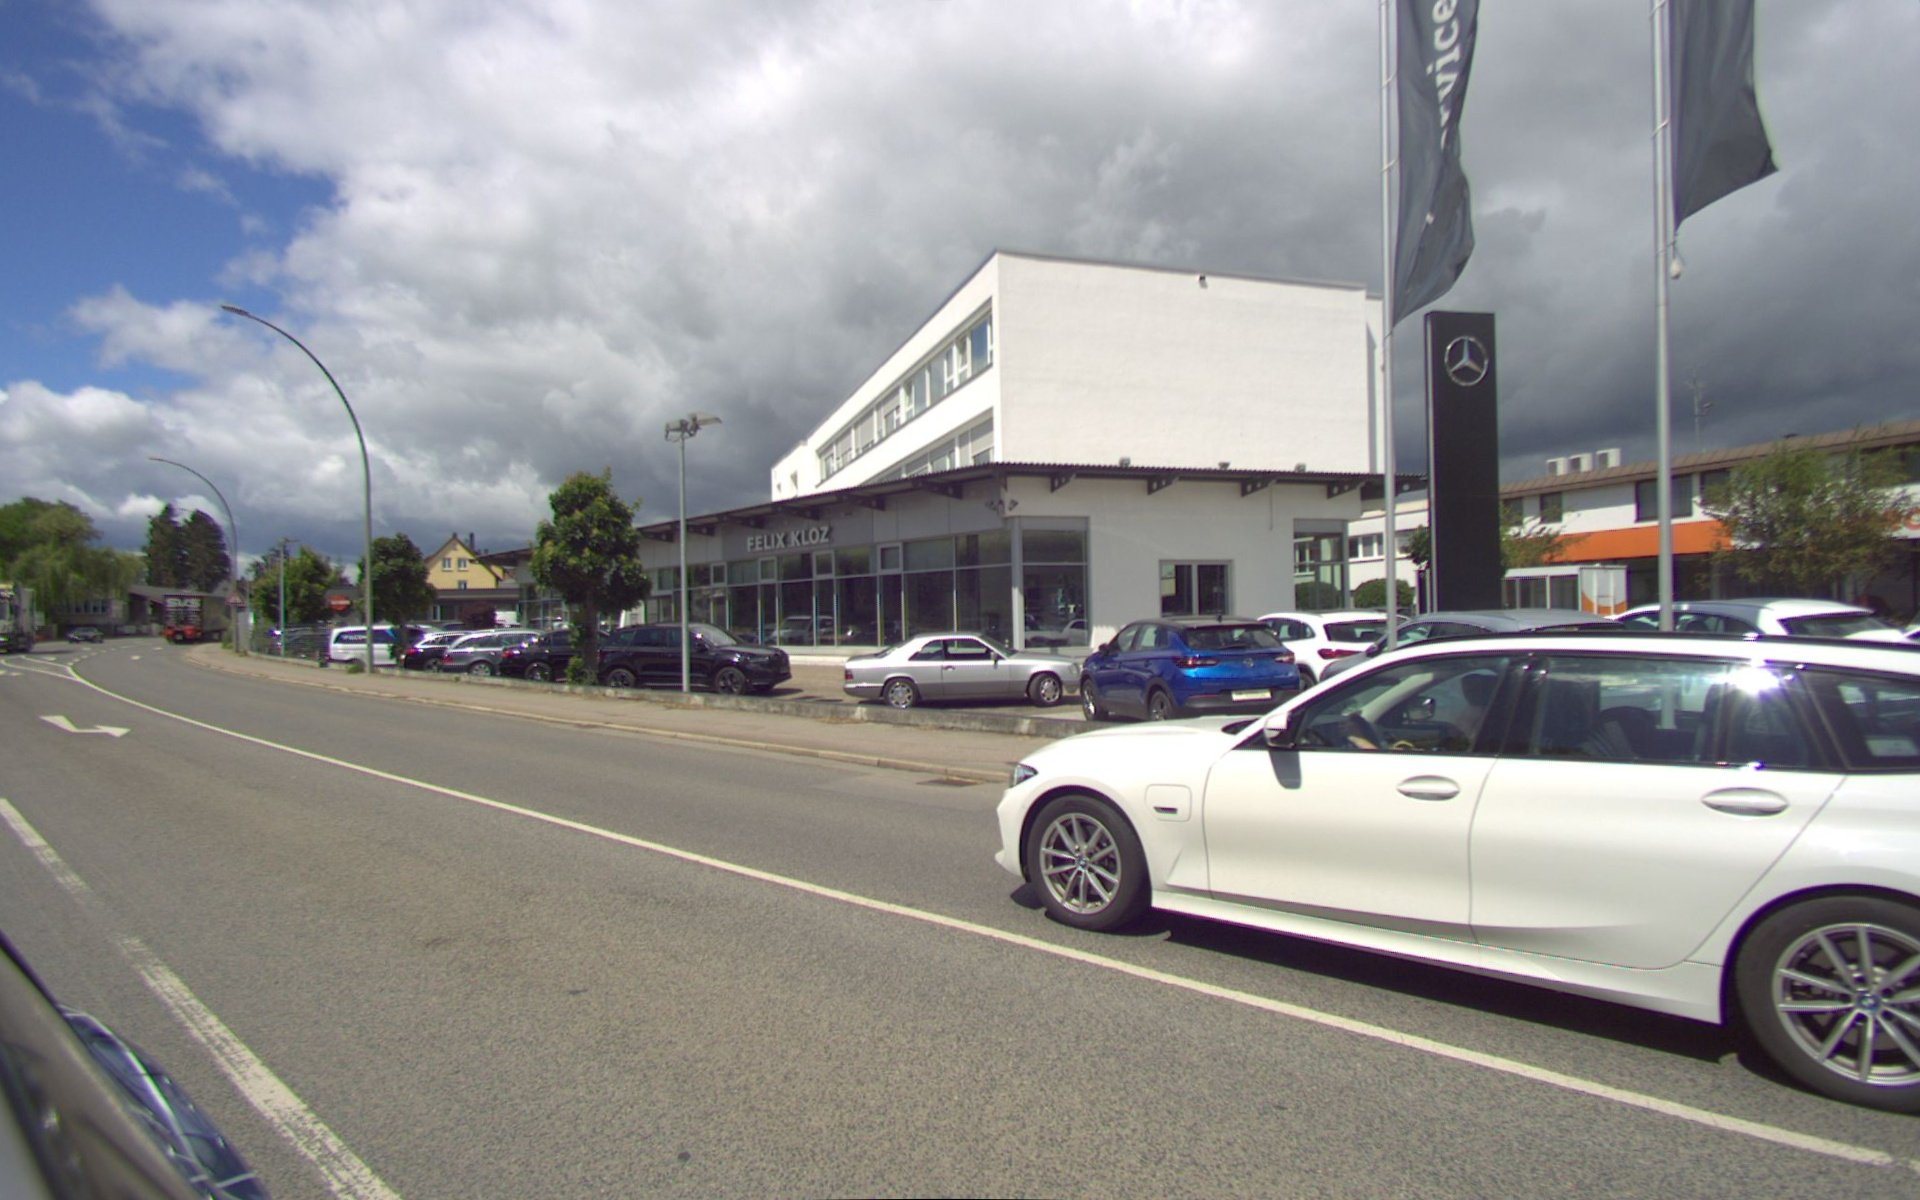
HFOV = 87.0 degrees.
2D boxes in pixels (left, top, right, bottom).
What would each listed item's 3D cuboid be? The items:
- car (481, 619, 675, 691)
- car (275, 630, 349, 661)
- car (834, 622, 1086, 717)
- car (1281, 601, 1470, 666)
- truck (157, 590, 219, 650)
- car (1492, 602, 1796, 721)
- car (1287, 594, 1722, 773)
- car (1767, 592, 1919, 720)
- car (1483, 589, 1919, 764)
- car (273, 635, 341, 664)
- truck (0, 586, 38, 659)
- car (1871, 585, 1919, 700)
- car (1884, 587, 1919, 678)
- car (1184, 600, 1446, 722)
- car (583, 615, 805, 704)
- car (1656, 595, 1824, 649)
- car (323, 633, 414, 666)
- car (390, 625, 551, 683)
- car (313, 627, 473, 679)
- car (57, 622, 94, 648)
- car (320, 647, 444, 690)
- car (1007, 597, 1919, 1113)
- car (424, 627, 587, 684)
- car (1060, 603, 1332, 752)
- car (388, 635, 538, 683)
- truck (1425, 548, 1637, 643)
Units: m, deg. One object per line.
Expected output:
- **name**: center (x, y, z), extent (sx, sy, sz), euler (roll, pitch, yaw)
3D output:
- **car**: center (-9.982, 1.409, 26.832), extent (4.559, 1.637, 2.067), euler (-2, -1, -13)
- **car**: center (-34.901, 2.444, 54.508), extent (3.214, 1.586, 1.585), euler (1, -2, -38)
- **car**: center (0.002, 1.293, 19.391), extent (4.535, 1.400, 1.804), euler (-3, 2, 1)
- **car**: center (11.208, 0.863, 27.341), extent (4.506, 1.602, 1.933), euler (-1, 0, -18)
- **truck**: center (-63.775, 1.648, 83.796), extent (2.932, 4.696, 8.204), euler (0, -1, -29)
- **car**: center (10.990, 0.938, 16.654), extent (1.774, 1.637, 3.964), euler (-2, -1, -11)
- **car**: center (5.896, 0.834, 11.764), extent (1.843, 1.578, 4.532), euler (-2, -1, -13)
- **car**: center (12.384, 0.647, 11.903), extent (1.840, 1.478, 4.563), euler (-3, -1, -4)
- **car**: center (8.596, 0.763, 11.826), extent (1.843, 1.578, 4.532), euler (-2, -1, -13)
- **car**: center (-38.163, 2.854, 59.145), extent (3.214, 1.586, 1.585), euler (1, -2, -38)
- **truck**: center (-53.794, 1.274, 56.098), extent (2.859, 3.797, 9.657), euler (0, -1, -36)
- **car**: center (14.840, 0.542, 13.015), extent (1.838, 1.629, 4.441), euler (-3, -1, -7)
- **car**: center (19.128, 0.546, 17.706), extent (3.954, 1.641, 1.842), euler (-1, -1, 9)
- **car**: center (5.468, 0.903, 16.167), extent (1.773, 1.637, 3.967), euler (-2, -1, -20)
- **car**: center (-5.769, 1.282, 22.069), extent (4.312, 1.637, 1.796), euler (-2, 2, 15)
- **car**: center (25.290, 0.716, 32.987), extent (1.701, 1.606, 4.013), euler (-1, -1, -20)
- **car**: center (-29.256, 2.430, 50.098), extent (3.608, 1.474, 1.660), euler (-1, -2, -42)
- **car**: center (-15.830, 1.724, 32.937), extent (4.433, 1.637, 1.809), euler (-2, -2, -14)
- **car**: center (-21.163, 1.957, 37.954), extent (4.878, 1.852, 1.897), euler (0, -2, -11)
- **car**: center (-72.589, 2.874, 83.128), extent (1.923, 2.029, 4.009), euler (0, -2, -36)
- **car**: center (-22.702, 2.658, 39.893), extent (3.889, 1.437, 1.808), euler (-2, -1, -13)
- **car**: center (2.545, 0.770, 4.326), extent (4.423, 1.461, 1.973), euler (-2, -3, 40)
- **car**: center (-12.824, 1.546, 28.752), extent (3.892, 1.505, 1.807), euler (-1, -2, -8)
- **car**: center (3.085, 0.952, 14.413), extent (1.863, 1.681, 4.583), euler (-2, 0, -13)
- **car**: center (-17.279, 2.028, 35.394), extent (4.390, 1.339, 1.898), euler (-3, -1, -15)
- **truck**: center (22.787, -0.104, 41.001), extent (2.405, 3.449, 7.844), euler (-1, -1, -18)
